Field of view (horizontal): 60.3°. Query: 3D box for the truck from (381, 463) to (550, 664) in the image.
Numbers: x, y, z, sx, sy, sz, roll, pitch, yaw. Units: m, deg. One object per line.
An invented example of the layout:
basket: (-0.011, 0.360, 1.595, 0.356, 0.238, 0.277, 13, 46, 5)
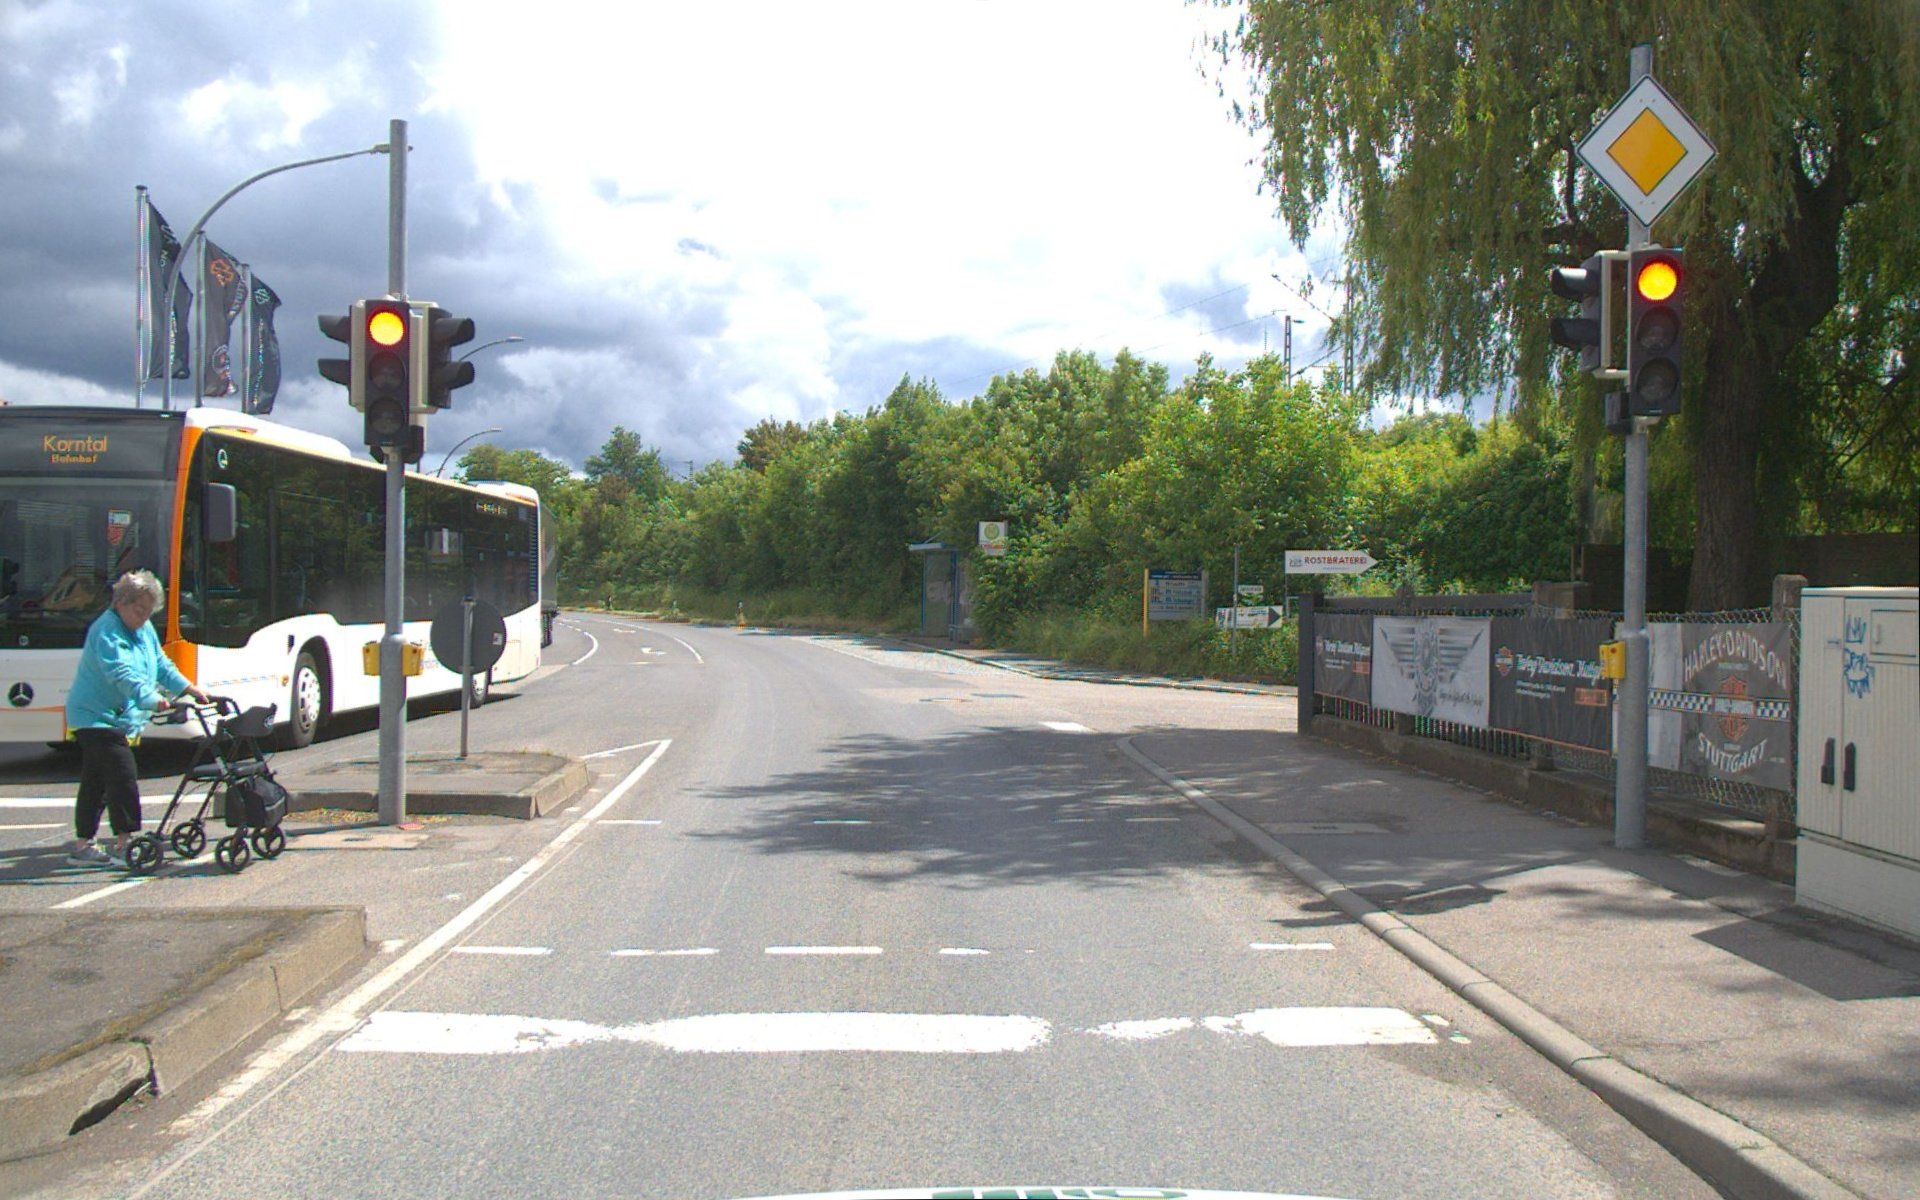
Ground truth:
truck: (-11.718, -0.772, 40.011, 2.383, 4.203, 9.133, 3, 0, -8)

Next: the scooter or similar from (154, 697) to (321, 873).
scooter or similar: (-3.785, 0.958, 8.701, 0.599, 0.846, 0.659, 0, 0, -2)

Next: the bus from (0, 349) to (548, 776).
bus: (-7.503, -0.283, 18.959, 2.721, 3.323, 12.120, 0, 0, -1)

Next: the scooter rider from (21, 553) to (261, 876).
scooter rider: (-4.280, 0.574, 8.700, 0.860, 1.617, 0.796, 1, 0, -2)
